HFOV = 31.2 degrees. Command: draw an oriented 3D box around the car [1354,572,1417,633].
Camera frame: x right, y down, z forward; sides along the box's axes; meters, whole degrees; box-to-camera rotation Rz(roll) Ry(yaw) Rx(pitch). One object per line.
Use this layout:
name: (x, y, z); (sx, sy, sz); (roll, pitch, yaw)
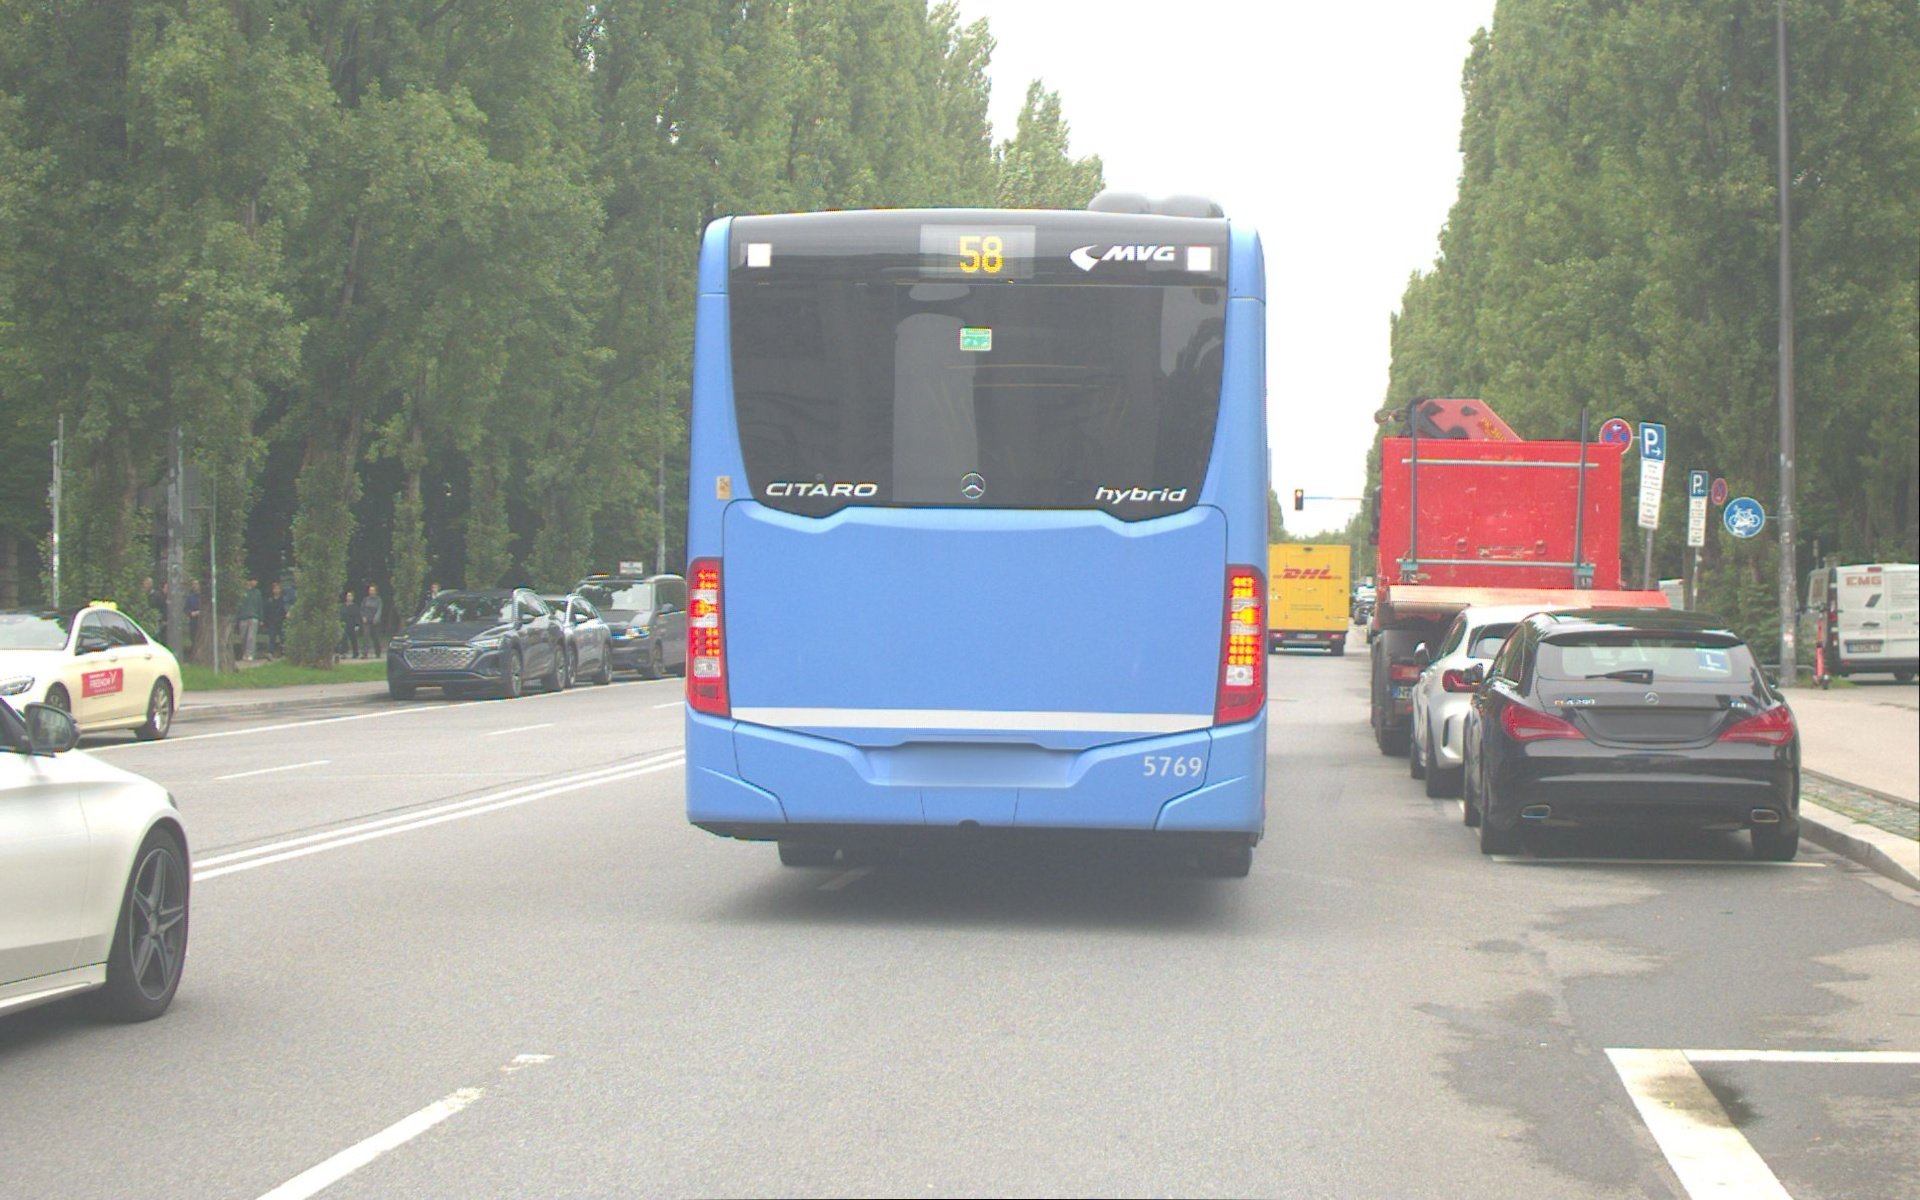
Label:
car: (14.370, 0.084, 116.326); (2.053, 2.007, 5.691); (0, 0, 7)

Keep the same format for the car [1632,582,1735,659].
car: (18.626, 0.519, 88.689); (1.994, 1.919, 5.323); (1, 0, 5)

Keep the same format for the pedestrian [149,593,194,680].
pedestrian: (-15.747, 0.720, 68.672); (0.667, 1.716, 0.733); (0, 0, 8)

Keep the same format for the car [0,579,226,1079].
car: (-3.719, 0.644, 9.725); (1.826, 1.449, 4.581); (1, 0, 6)

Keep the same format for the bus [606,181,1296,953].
bus: (0.259, -0.160, 18.958); (2.856, 3.203, 9.058); (1, 0, 4)

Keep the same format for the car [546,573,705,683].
car: (-6.253, 0.503, 64.805); (1.994, 1.950, 4.936); (-1, 0, 6)

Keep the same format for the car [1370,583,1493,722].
car: (8.923, 0.947, 65.523); (2.075, 2.470, 6.282); (1, 0, 6)

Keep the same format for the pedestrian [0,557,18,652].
pedestrian: (-20.366, 0.091, 72.620); (0.697, 2.007, 0.560); (1, 0, 6)

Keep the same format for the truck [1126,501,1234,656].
truck: (5.952, -0.560, 92.309); (2.716, 3.952, 9.216); (0, 0, 4)

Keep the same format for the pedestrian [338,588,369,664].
pedestrian: (-13.688, 0.583, 77.625); (0.508, 1.701, 0.569); (1, 0, 7)

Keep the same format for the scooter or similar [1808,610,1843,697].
scooter or similar: (12.654, 0.772, 50.271); (0.336, 1.261, 1.185); (0, 0, 7)

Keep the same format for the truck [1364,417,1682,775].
truck: (5.505, -0.043, 35.115); (2.714, 3.099, 10.423); (0, 0, 7)

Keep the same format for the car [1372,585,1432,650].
car: (13.878, 0.538, 108.062); (1.806, 1.969, 4.235); (1, 0, 7)

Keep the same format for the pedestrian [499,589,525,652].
pedestrian: (-12.428, 0.567, 95.449); (0.549, 1.741, 0.672); (1, 0, 6)

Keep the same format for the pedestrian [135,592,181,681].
pedestrian: (-15.089, 0.681, 64.682); (0.618, 1.654, 0.704); (1, 0, 7)

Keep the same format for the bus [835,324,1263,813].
bus: (0.980, -0.221, 28.163); (2.872, 3.293, 9.787); (1, 0, 5)

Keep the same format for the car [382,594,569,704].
car: (-7.482, 0.726, 53.510); (1.782, 1.590, 4.612); (-2, 0, 6)

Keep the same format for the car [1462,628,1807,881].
car: (3.941, 0.844, 20.671); (1.736, 1.306, 4.369); (0, 0, 7)

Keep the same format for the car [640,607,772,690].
car: (-5.231, 0.973, 71.350); (1.815, 1.603, 5.052); (-2, 0, 6)

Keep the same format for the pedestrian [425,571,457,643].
pedestrian: (-12.614, 0.171, 83.590); (0.608, 1.751, 0.757); (0, 0, 5)

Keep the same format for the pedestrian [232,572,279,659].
pedestrian: (-15.080, 0.322, 73.575); (0.747, 1.848, 0.757); (1, 0, 7)

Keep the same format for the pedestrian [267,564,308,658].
pedestrian: (-14.451, 0.229, 73.876); (0.666, 2.007, 0.638); (1, 0, 6)

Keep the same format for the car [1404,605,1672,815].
car: (4.412, 0.789, 26.752); (1.788, 1.455, 4.216); (1, 0, 6)

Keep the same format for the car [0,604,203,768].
car: (-9.471, 0.820, 35.041); (1.931, 1.492, 4.789); (0, 1, 7)

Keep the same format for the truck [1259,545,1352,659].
truck: (9.171, 0.045, 91.253); (2.328, 2.888, 7.331); (1, 0, 6)

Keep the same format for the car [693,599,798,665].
car: (-4.858, 0.719, 78.271); (1.676, 1.417, 4.236); (-1, 0, 6)

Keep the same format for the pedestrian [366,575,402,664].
pedestrian: (-12.998, 0.440, 77.614); (0.624, 2.007, 0.595); (1, 0, 8)

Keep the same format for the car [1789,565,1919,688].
car: (15.089, 0.424, 57.111); (1.994, 1.940, 5.081); (0, 0, 7)

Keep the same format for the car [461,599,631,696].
car: (-7.060, 0.781, 59.016); (1.891, 1.579, 4.653); (-1, 0, 6)
